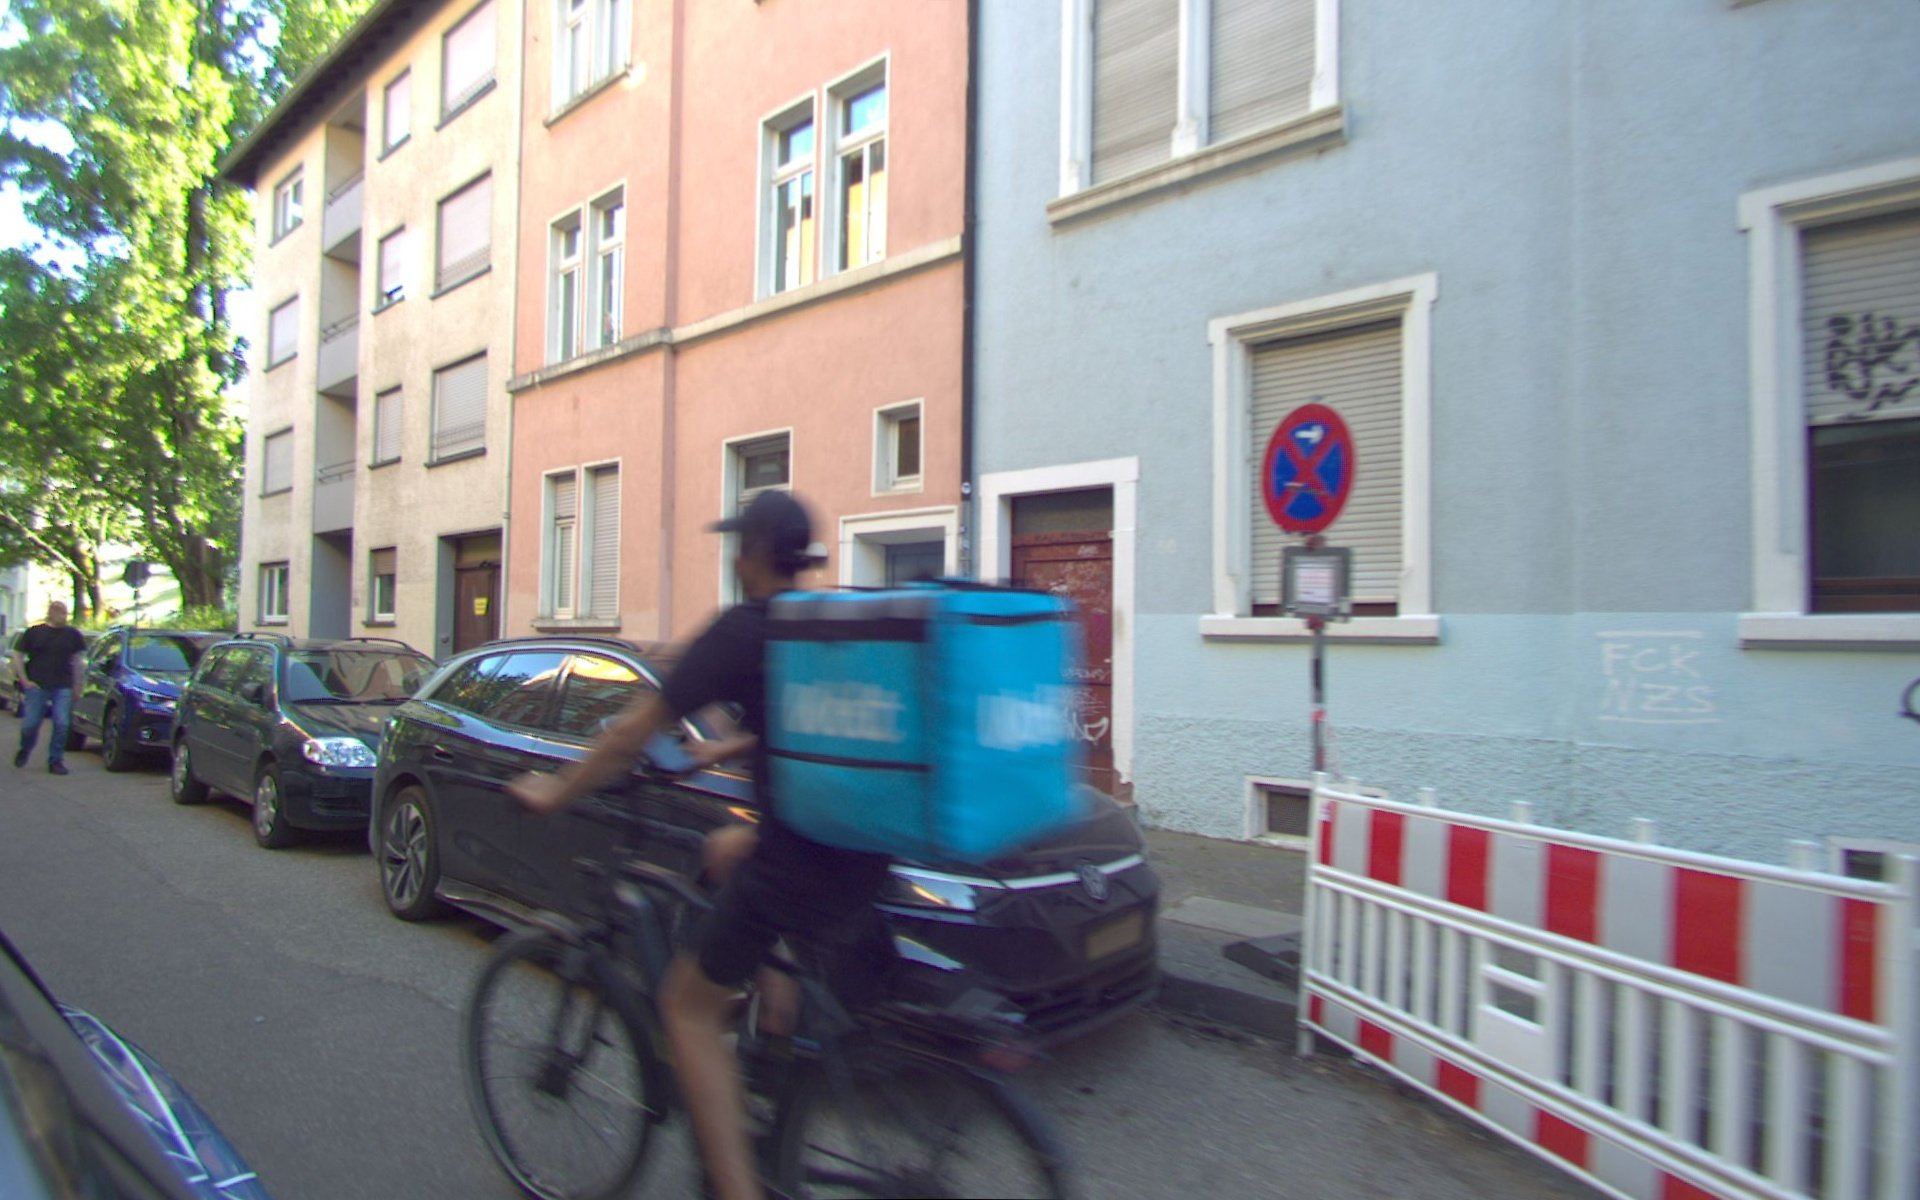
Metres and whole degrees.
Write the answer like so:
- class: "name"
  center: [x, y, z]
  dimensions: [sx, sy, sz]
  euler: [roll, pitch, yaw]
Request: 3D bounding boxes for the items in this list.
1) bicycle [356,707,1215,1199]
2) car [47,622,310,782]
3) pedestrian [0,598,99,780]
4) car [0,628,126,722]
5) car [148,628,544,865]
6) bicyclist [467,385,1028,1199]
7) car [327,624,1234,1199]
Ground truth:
- class: "bicycle"
  center: [-0.481, 0.861, 2.120]
  dimensions: [1.844, 1.166, 0.680]
  euler: [-1, -5, 39]
- class: "car"
  center: [-9.433, 1.106, 12.093]
  dimensions: [4.246, 1.586, 1.625]
  euler: [-2, -5, 41]
- class: "pedestrian"
  center: [-9.564, 0.907, 10.461]
  dimensions: [0.997, 1.767, 0.730]
  euler: [-2, -7, 42]
- class: "car"
  center: [-16.496, 1.318, 18.367]
  dimensions: [3.658, 1.533, 1.445]
  euler: [-2, -5, 41]
- class: "car"
  center: [-5.228, 1.020, 8.403]
  dimensions: [3.998, 1.503, 1.625]
  euler: [-2, -5, 41]
- class: "bicyclist"
  center: [-0.437, 0.528, 2.109]
  dimensions: [0.892, 1.690, 0.658]
  euler: [-1, -5, 39]
- class: "car"
  center: [-1.245, 0.926, 4.907]
  dimensions: [4.694, 1.520, 1.748]
  euler: [-2, -5, 41]
